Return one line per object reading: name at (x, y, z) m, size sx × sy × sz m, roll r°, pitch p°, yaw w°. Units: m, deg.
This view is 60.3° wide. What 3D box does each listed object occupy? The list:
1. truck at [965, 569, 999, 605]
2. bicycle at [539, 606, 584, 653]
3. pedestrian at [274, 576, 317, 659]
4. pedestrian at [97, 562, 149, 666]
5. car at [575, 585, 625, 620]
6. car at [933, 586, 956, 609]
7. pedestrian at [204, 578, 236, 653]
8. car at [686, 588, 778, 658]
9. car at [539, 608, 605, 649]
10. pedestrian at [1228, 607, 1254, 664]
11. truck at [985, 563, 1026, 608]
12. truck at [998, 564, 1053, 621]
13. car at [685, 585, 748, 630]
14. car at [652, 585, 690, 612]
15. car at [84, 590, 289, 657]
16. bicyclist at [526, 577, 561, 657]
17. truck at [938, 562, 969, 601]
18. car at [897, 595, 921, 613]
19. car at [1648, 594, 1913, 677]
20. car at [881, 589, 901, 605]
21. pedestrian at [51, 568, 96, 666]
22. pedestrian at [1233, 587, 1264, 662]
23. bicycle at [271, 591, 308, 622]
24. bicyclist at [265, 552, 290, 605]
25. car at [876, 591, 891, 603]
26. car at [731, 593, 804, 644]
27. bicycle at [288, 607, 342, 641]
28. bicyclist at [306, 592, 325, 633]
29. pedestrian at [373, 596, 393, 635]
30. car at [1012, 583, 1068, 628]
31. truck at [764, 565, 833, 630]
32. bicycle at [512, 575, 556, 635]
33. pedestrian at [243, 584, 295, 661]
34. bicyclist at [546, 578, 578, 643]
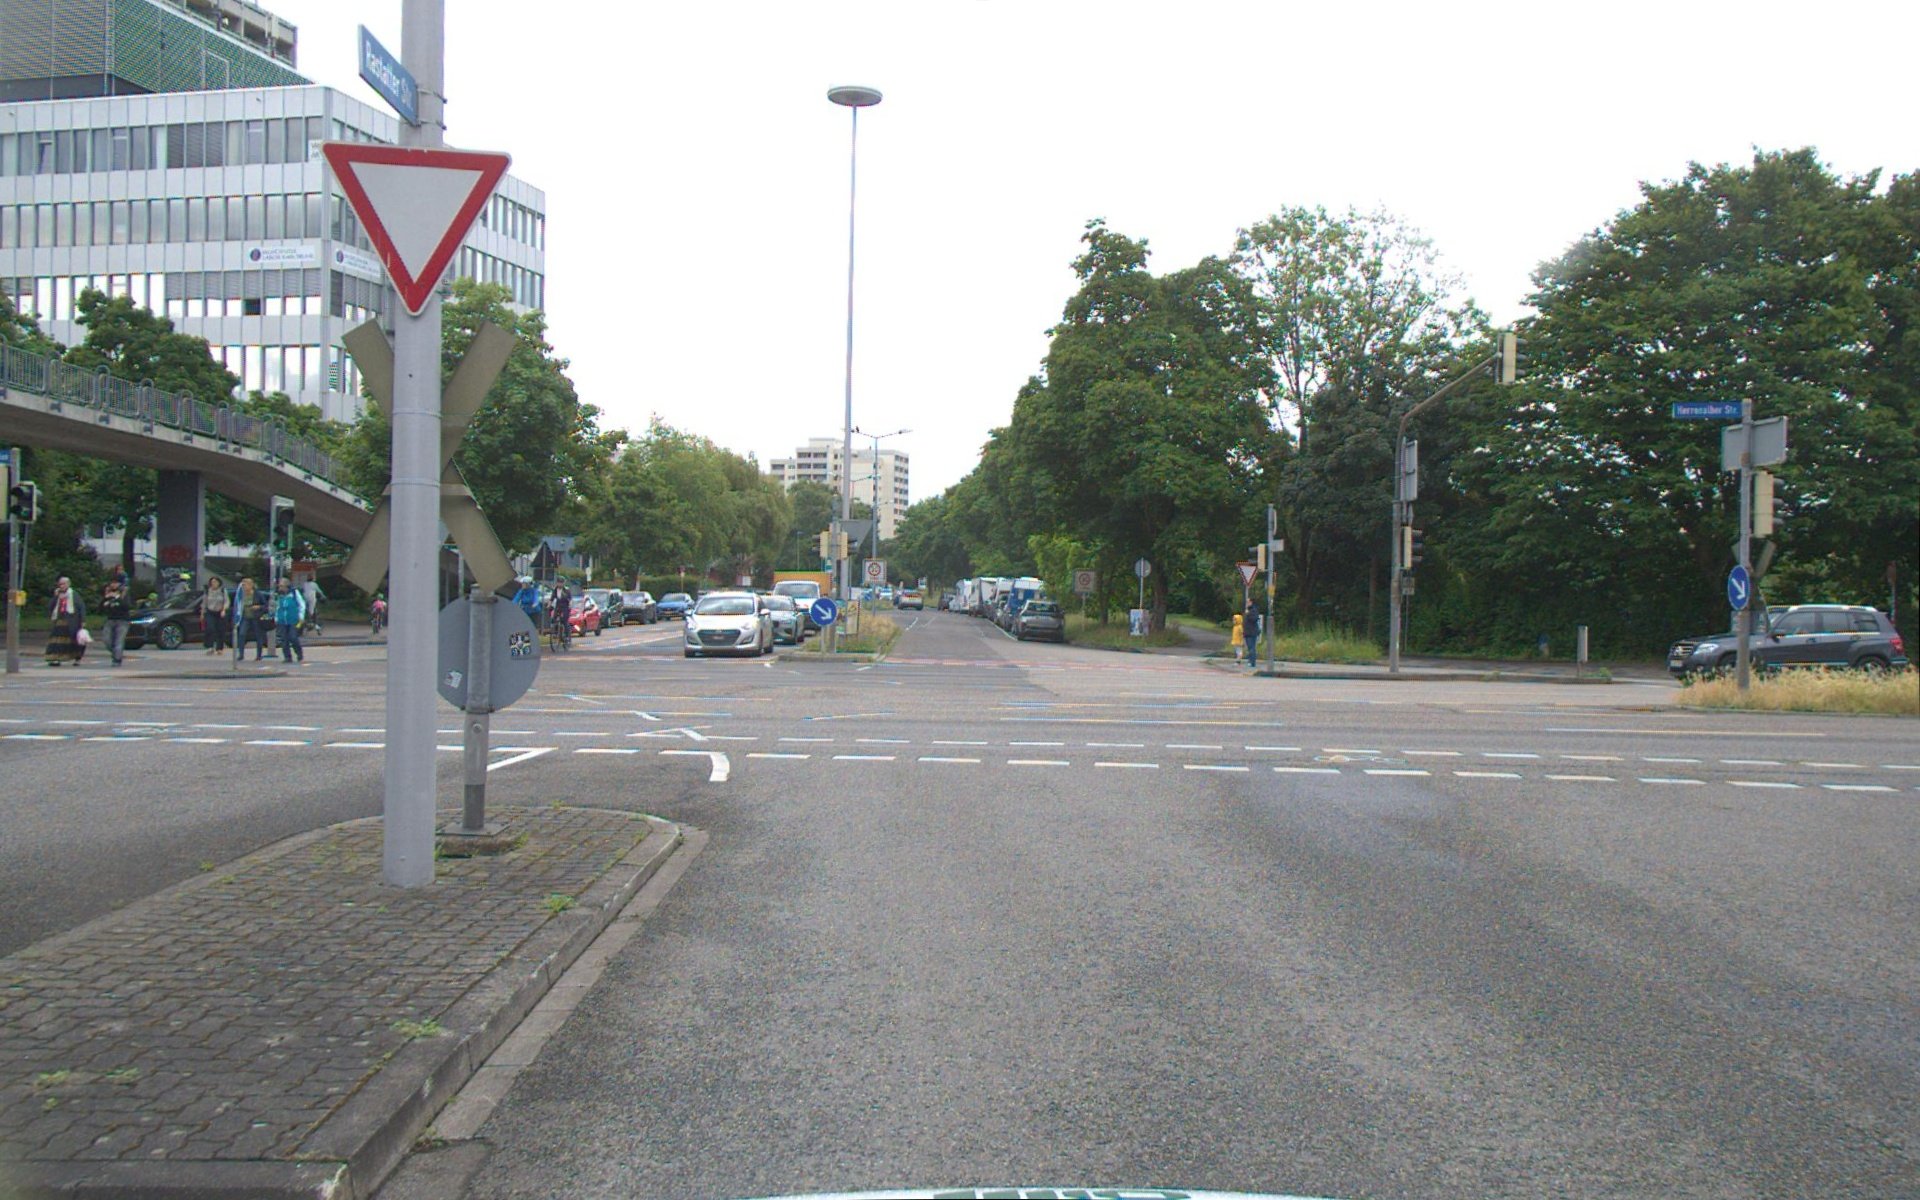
truck at (1.606, -0.966, 122.539) m, size 1.954 × 2.618 × 5.373 m, roll 0°, pitch 0°, yaw -5°
bicycle at (-10.126, 0.744, 42.108) m, size 0.712 × 1.120 × 2.263 m, roll 1°, pitch 1°, yaw -3°
pedestrian at (-13.244, 0.339, 32.983) m, size 0.674 × 1.633 × 0.487 m, roll 1°, pitch 0°, yaw -7°
pedestrian at (-14.917, 0.246, 29.481) m, size 0.625 × 1.835 × 0.800 m, roll 1°, pitch 0°, yaw -12°
car at (-16.929, 0.102, 77.864) m, size 1.638 × 1.579 × 3.761 m, roll 1°, pitch 1°, yaw -2°
car at (-1.421, -0.214, 149.081) m, size 1.620 × 1.952 × 3.913 m, roll 0°, pitch 1°, yaw -7°
pedestrian at (-15.971, 0.328, 35.686) m, size 0.570 × 1.607 × 0.777 m, roll 0°, pitch 0°, yaw -21°
car at (-5.304, 0.546, 38.926) m, size 1.753 × 1.546 × 4.323 m, roll 0°, pitch -1°, yaw -3°
car at (-13.840, 0.999, 59.104) m, size 1.481 × 1.414 × 3.533 m, roll 0°, pitch 0°, yaw 1°
pedestrian at (6.866, 0.863, 40.439) m, size 0.516 × 1.365 × 0.524 m, roll 1°, pitch 0°, yaw -3°
truck at (2.985, -0.964, 110.528) m, size 1.955 × 2.888 × 5.724 m, roll 0°, pitch 0°, yaw -6°
truck at (3.179, -0.354, 81.165) m, size 2.131 × 2.703 × 6.243 m, roll 0°, pitch 0°, yaw -3°
car at (-8.517, 0.230, 58.105) m, size 1.734 × 1.503 × 4.388 m, roll 0°, pitch 0°, yaw -2°
car at (-17.139, -0.102, 98.191) m, size 1.638 × 1.579 × 3.999 m, roll 1°, pitch 0°, yaw -2°
car at (-18.990, 0.554, 40.787) m, size 1.638 × 1.534 × 4.385 m, roll 1°, pitch 0°, yaw 33°
bicyclist at (-9.505, 0.389, 37.748) m, size 0.631 × 1.799 × 0.646 m, roll 1°, pitch 0°, yaw -3°
truck at (-0.548, -1.465, 133.229) m, size 1.955 × 3.061 × 5.765 m, roll 0°, pitch 0°, yaw -6°
car at (-4.377, 0.334, 141.440) m, size 1.980 × 1.531 × 3.998 m, roll 1°, pitch 1°, yaw -3°
car at (16.226, 0.687, 32.844) m, size 4.375 × 1.530 × 1.845 m, roll 1°, pitch 1°, yaw -2°
car at (-7.032, -0.345, 168.181) m, size 1.980 × 1.531 × 3.998 m, roll 1°, pitch 1°, yaw -3°
pedestrian at (-15.661, 0.295, 29.219) m, size 0.608 × 1.721 × 0.403 m, roll 0°, pitch 0°, yaw -17°
pedestrian at (6.956, 0.583, 39.886) m, size 0.644 × 1.780 × 0.459 m, roll 1°, pitch 0°, yaw -3°
bicycle at (-21.547, 0.204, 53.170) m, size 0.515 × 0.965 × 1.708 m, roll 0°, pitch 0°, yaw -2°
bicyclist at (-21.690, -0.691, 52.575) m, size 0.553 × 1.673 × 0.531 m, roll 0°, pitch 0°, yaw -2°
car at (-10.047, -0.456, 217.015) m, size 1.980 × 1.531 × 3.998 m, roll 1°, pitch 1°, yaw -3°
car at (-5.808, 0.534, 50.415) m, size 1.859 × 1.445 × 4.734 m, roll 1°, pitch 0°, yaw -3°
bicycle at (-19.473, 0.723, 50.003) m, size 0.746 × 0.965 × 1.954 m, roll 1°, pitch 0°, yaw 4°
bicyclist at (-19.332, 0.375, 49.610) m, size 0.396 × 1.202 × 0.377 m, roll 1°, pitch 1°, yaw -1°
pedestrian at (-18.869, 0.504, 54.077) m, size 0.489 × 1.293 × 0.458 m, roll 1°, pitch 0°, yaw 0°
car at (3.084, 0.190, 64.349) m, size 1.748 × 1.691 × 3.998 m, roll 1°, pitch 1°, yaw -3°
truck at (-5.827, -0.131, 60.271) m, size 2.112 × 2.237 × 5.838 m, roll 1°, pitch 1°, yaw -2°
bicycle at (-9.528, 0.101, 37.066) m, size 0.532 × 1.289 × 2.110 m, roll 1°, pitch 1°, yaw -3°
pedestrian at (-13.868, 0.455, 33.216) m, size 0.901 × 1.537 × 0.402 m, roll 1°, pitch 0°, yaw -14°
bicyclist at (-10.073, 0.265, 41.882) m, size 0.665 × 1.622 × 0.694 m, roll 0°, pitch 0°, yaw -3°
